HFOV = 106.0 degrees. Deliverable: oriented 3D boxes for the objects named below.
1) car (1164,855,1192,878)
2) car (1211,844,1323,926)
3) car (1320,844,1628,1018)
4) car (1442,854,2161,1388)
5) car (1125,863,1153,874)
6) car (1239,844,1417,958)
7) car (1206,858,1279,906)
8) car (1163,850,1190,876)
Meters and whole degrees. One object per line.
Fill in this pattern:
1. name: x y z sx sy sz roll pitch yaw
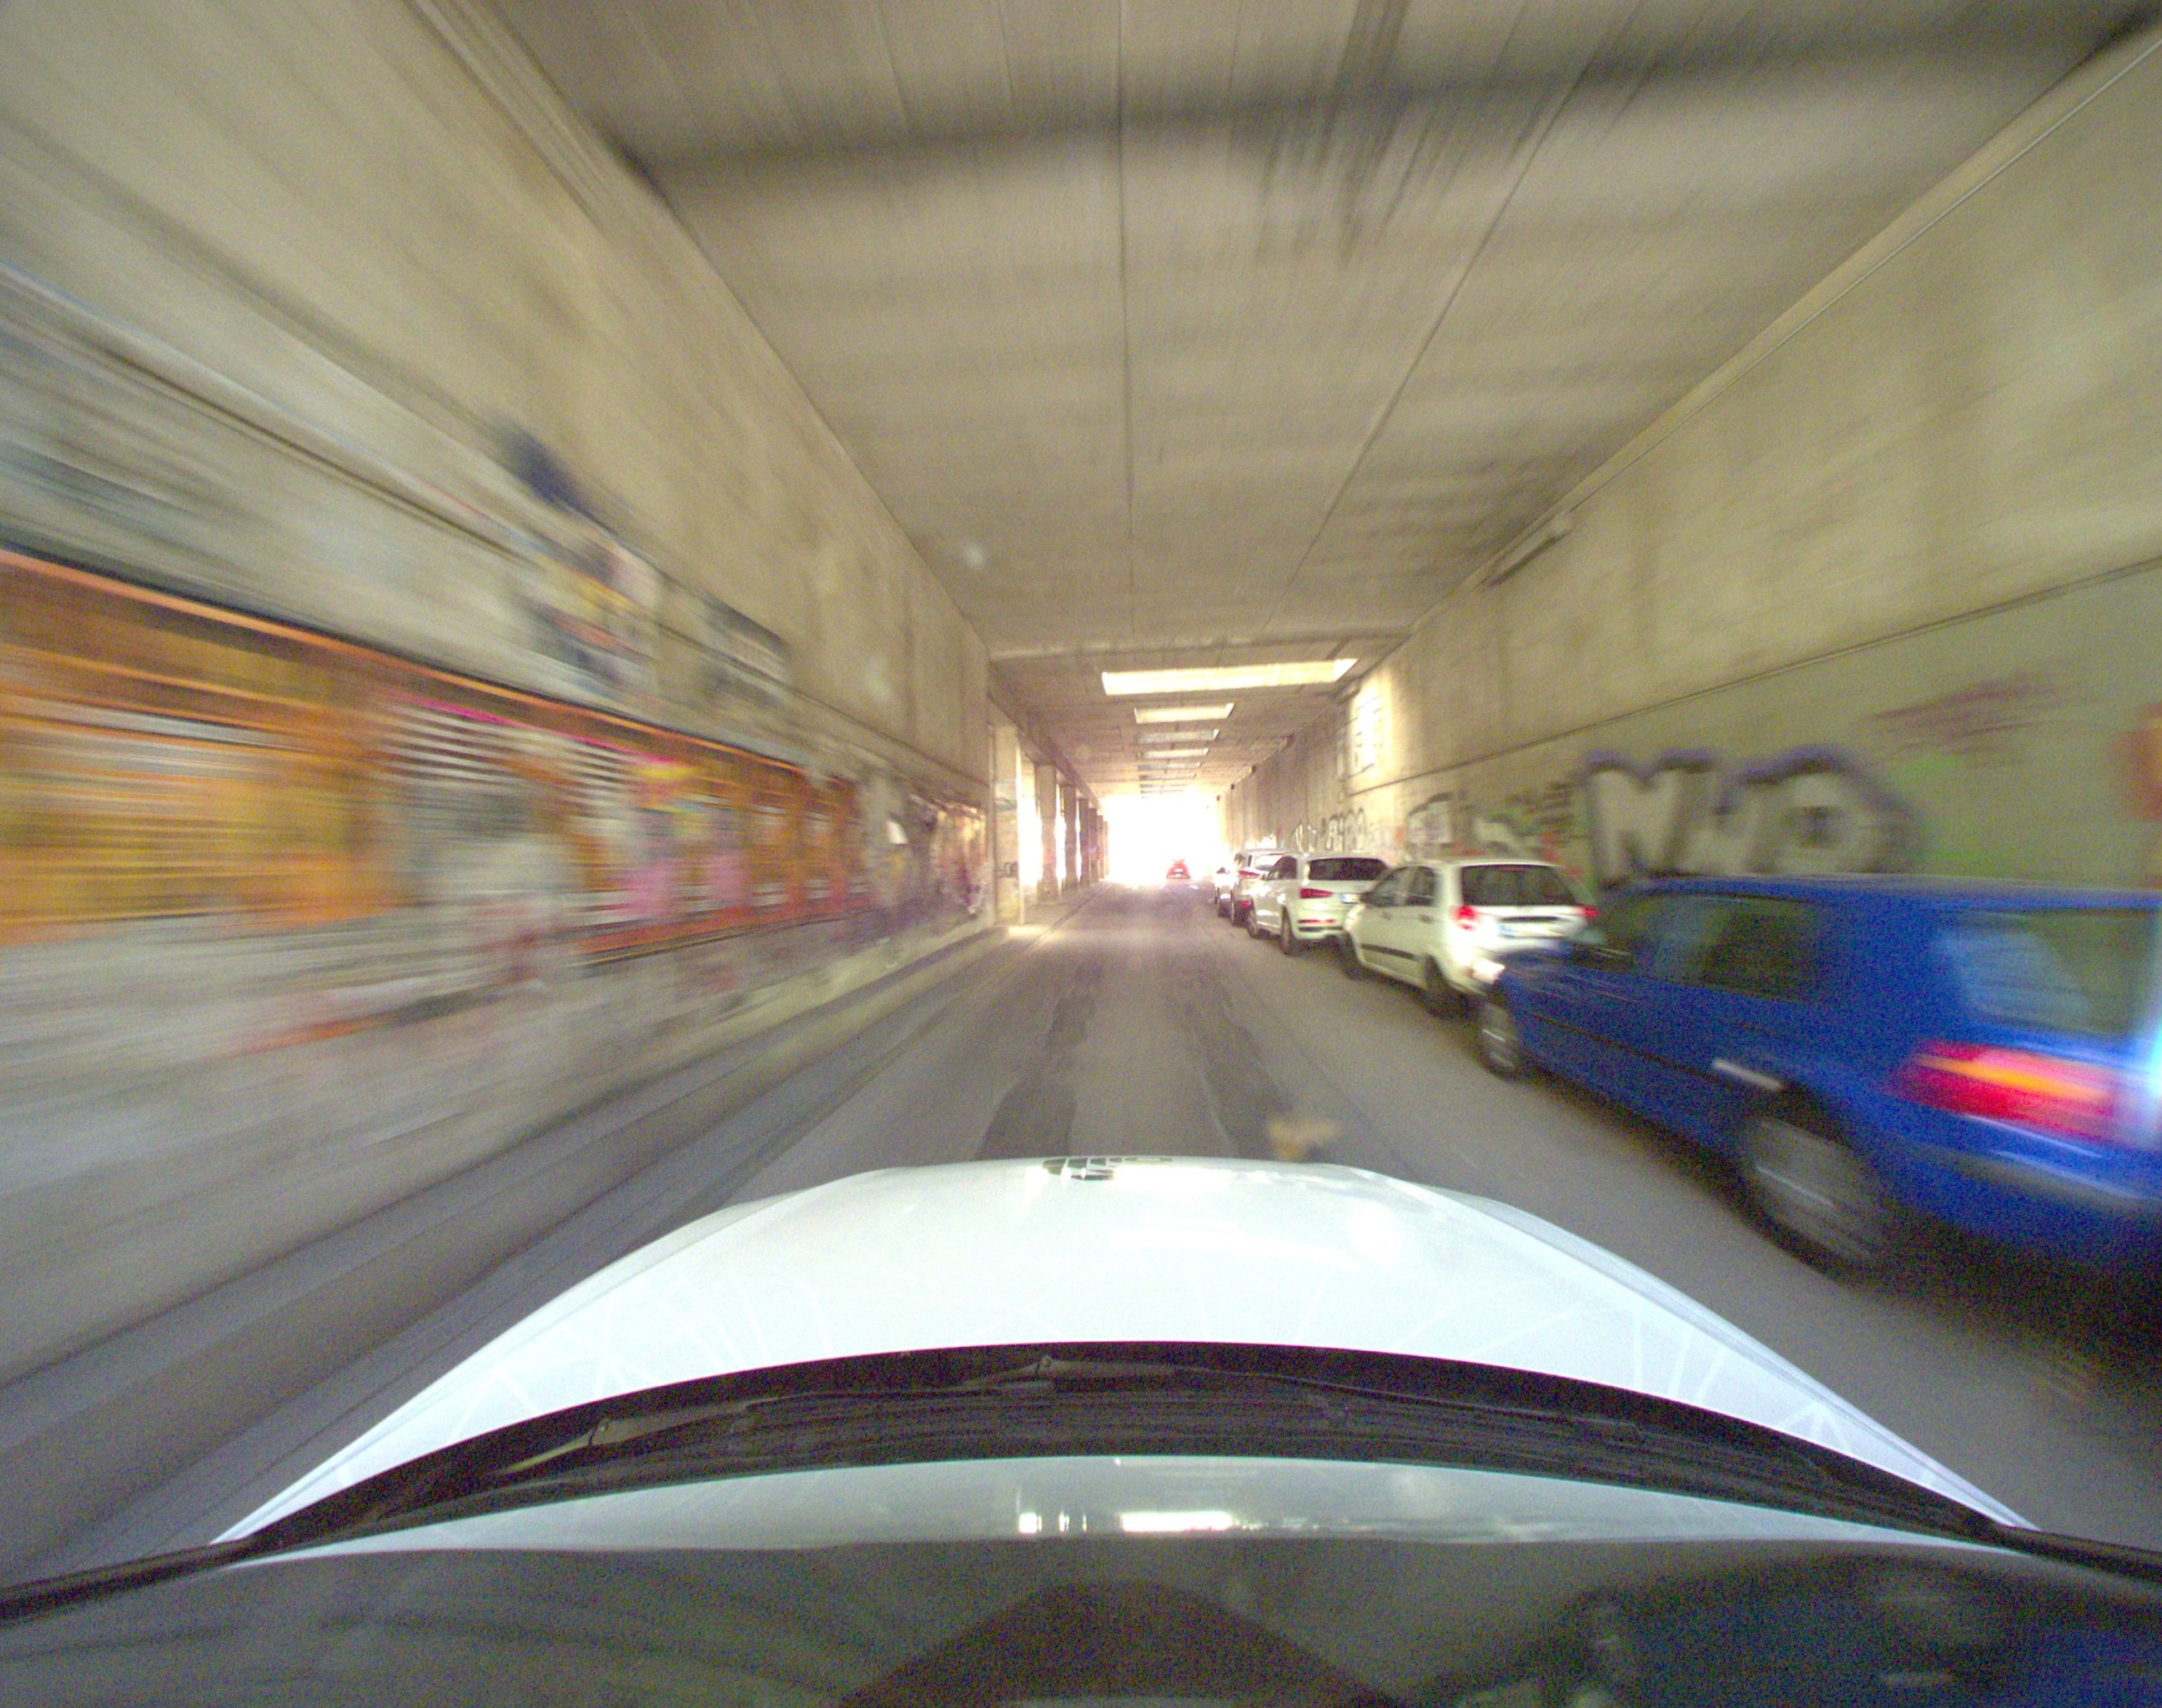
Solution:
1. car: 6.741 0.862 56.957 1.817 1.501 4.217 -1 0 5
2. car: 4.154 0.626 18.893 1.845 1.666 4.375 -1 0 4
3. car: 3.999 0.706 8.995 1.598 1.487 3.636 -1 -1 0
4. car: 3.562 0.739 4.200 1.754 1.411 4.066 -1 -1 3
5. car: 8.617 2.157 119.976 3.964 1.574 1.643 -1 -1 8
6. car: 3.853 0.690 13.466 1.723 1.546 4.156 -1 -1 1
7. car: 5.021 0.825 25.836 1.694 1.374 4.377 -1 0 4
8. car: 7.379 0.704 63.387 1.807 1.882 4.591 -2 0 4
